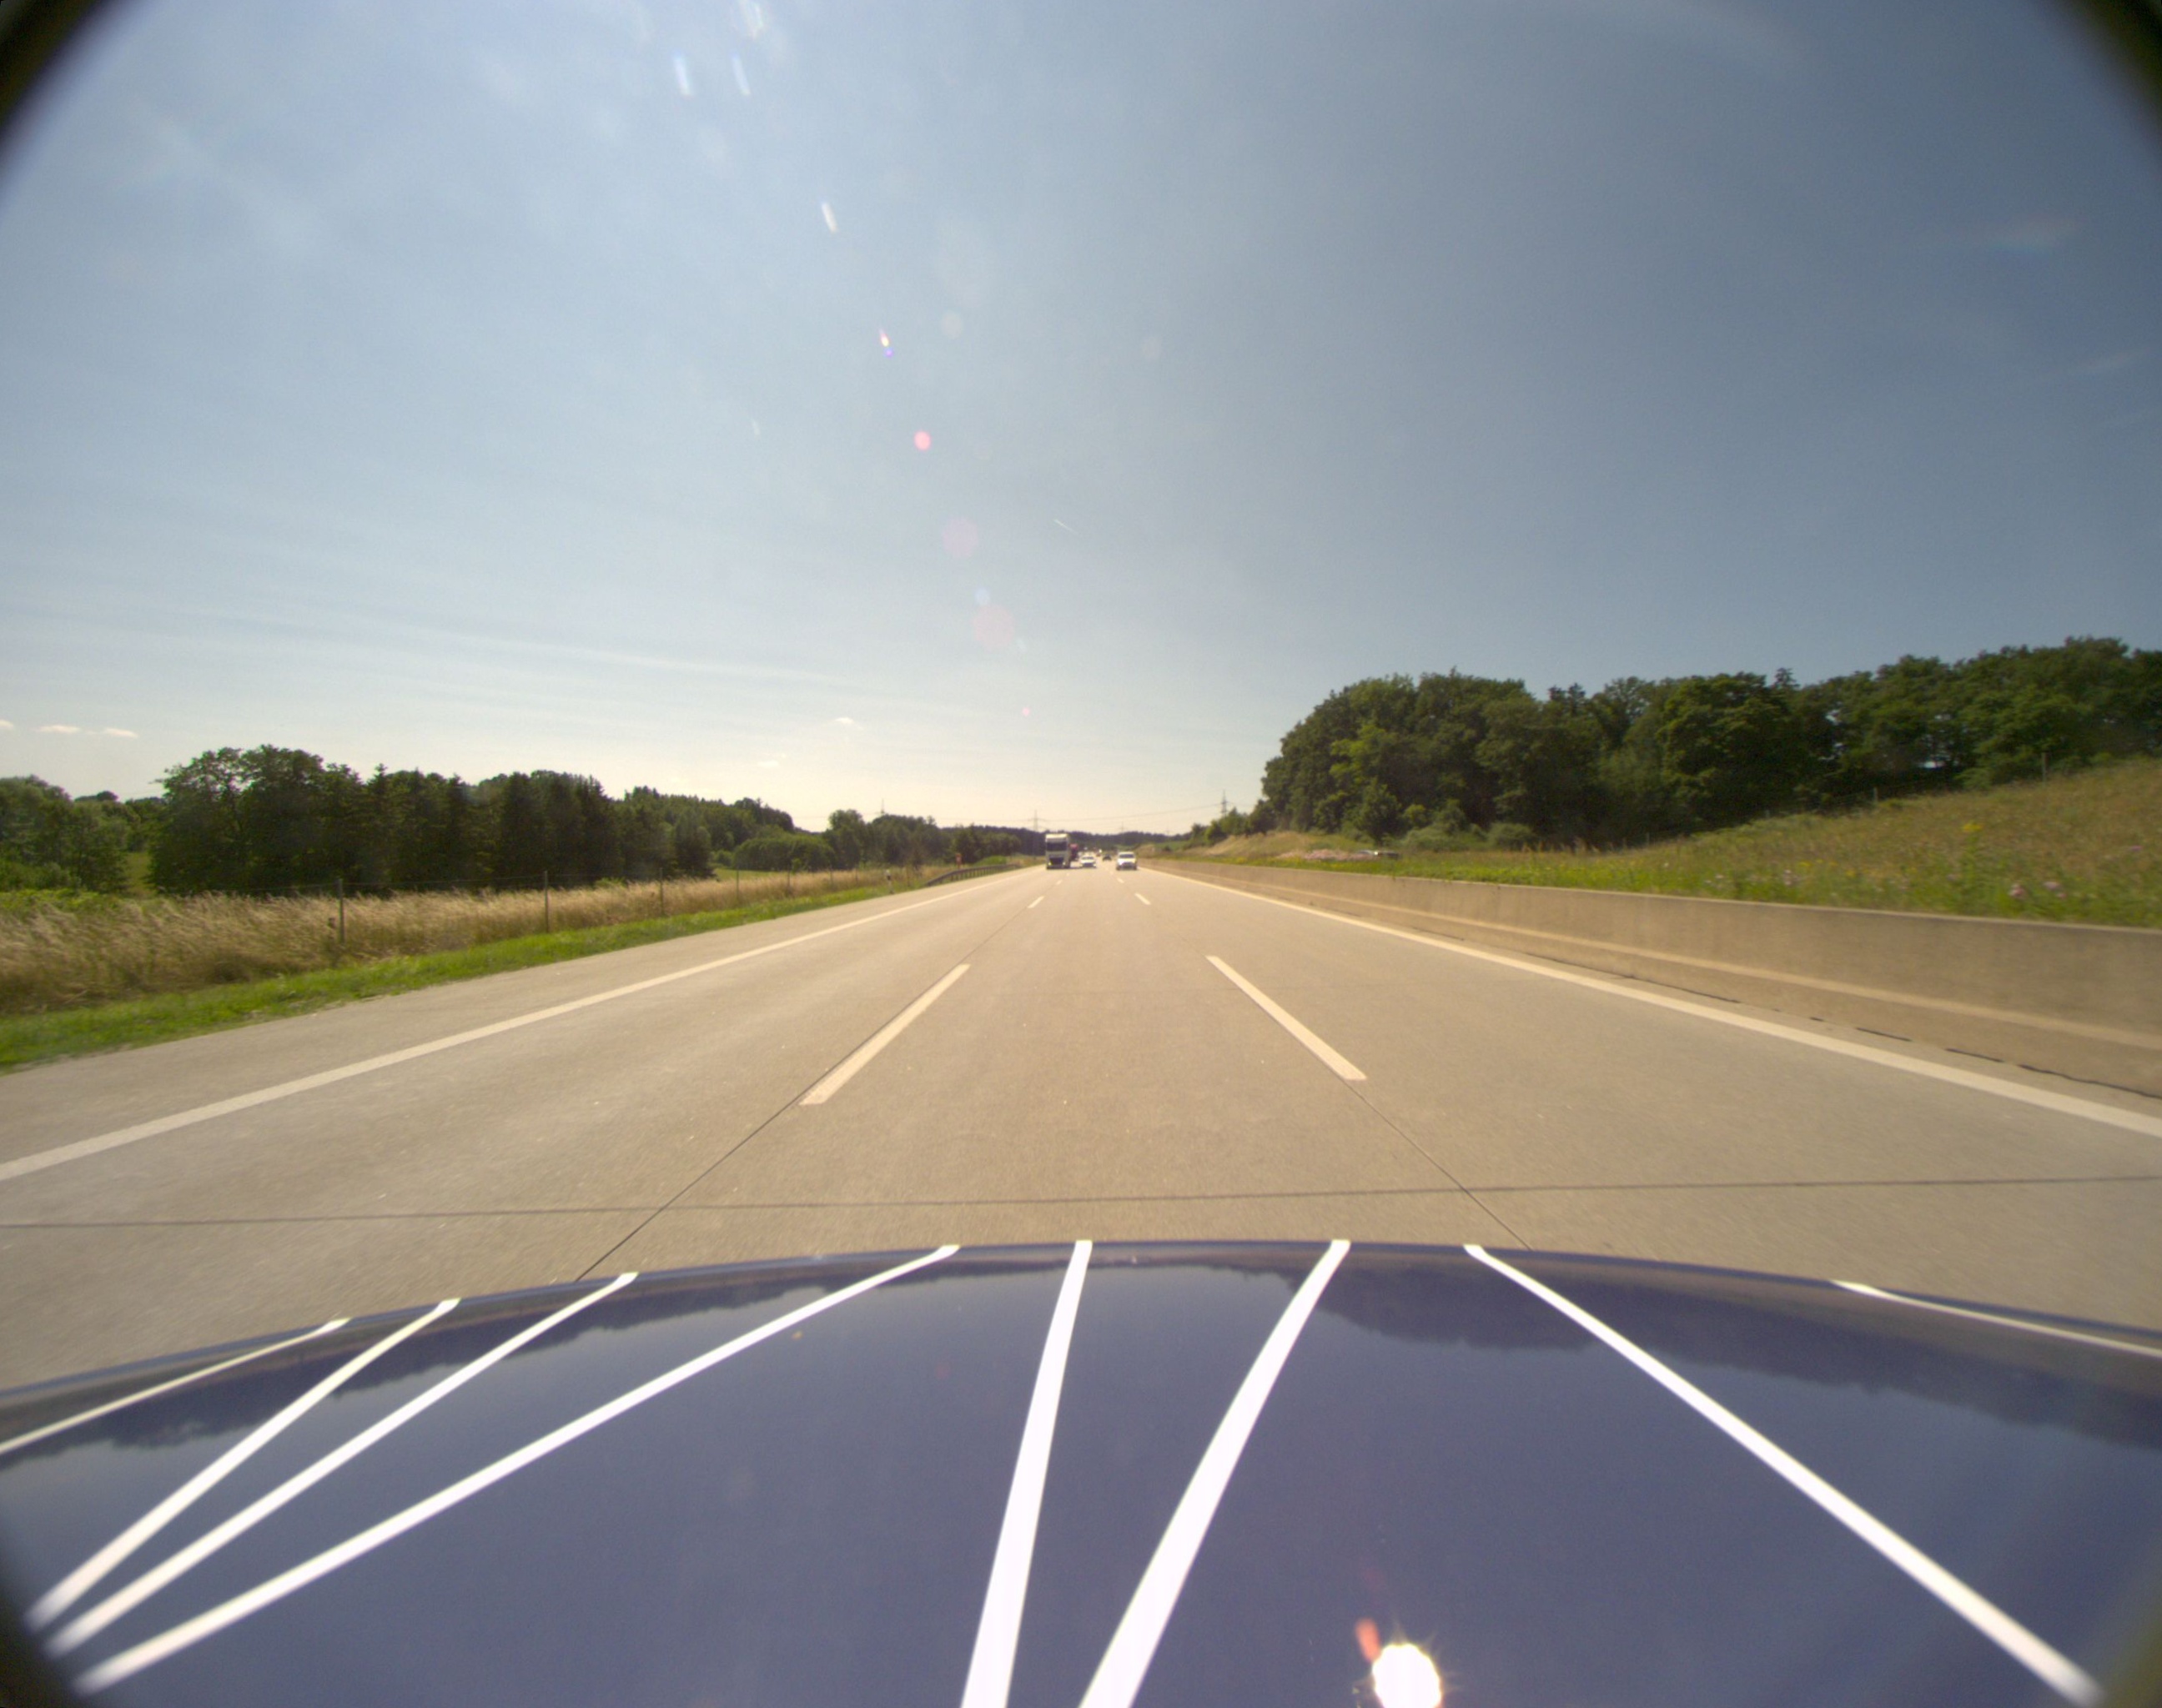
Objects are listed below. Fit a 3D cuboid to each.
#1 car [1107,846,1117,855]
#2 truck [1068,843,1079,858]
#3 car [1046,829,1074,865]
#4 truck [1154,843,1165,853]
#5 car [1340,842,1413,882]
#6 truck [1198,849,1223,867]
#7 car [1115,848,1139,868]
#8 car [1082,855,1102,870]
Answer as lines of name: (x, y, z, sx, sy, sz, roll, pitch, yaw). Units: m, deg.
car: (6.931, -0.736, 170.042, 1.998, 1.836, 6.529, -3, 0, 1)
truck: (-1.789, -0.910, 181.432, 2.351, 3.474, 5.245, -2, 1, 0)
car: (-2.346, -0.807, 90.492, 2.766, 4.029, 10.852, -1, 0, 1)
truck: (24.848, -1.953, 241.719, 2.902, 3.333, 8.258, 0, 1, 1)
car: (13.163, 0.313, 34.117, 1.715, 1.660, 3.999, -2, 1, 1)
truck: (13.458, 0.370, 79.149, 1.827, 1.806, 3.971, -2, 0, 1)
car: (4.316, 0.368, 71.994, 1.850, 1.698, 6.035, -2, 1, 1)
car: (1.197, 0.934, 84.099, 2.065, 1.472, 5.068, -5, 0, 1)
